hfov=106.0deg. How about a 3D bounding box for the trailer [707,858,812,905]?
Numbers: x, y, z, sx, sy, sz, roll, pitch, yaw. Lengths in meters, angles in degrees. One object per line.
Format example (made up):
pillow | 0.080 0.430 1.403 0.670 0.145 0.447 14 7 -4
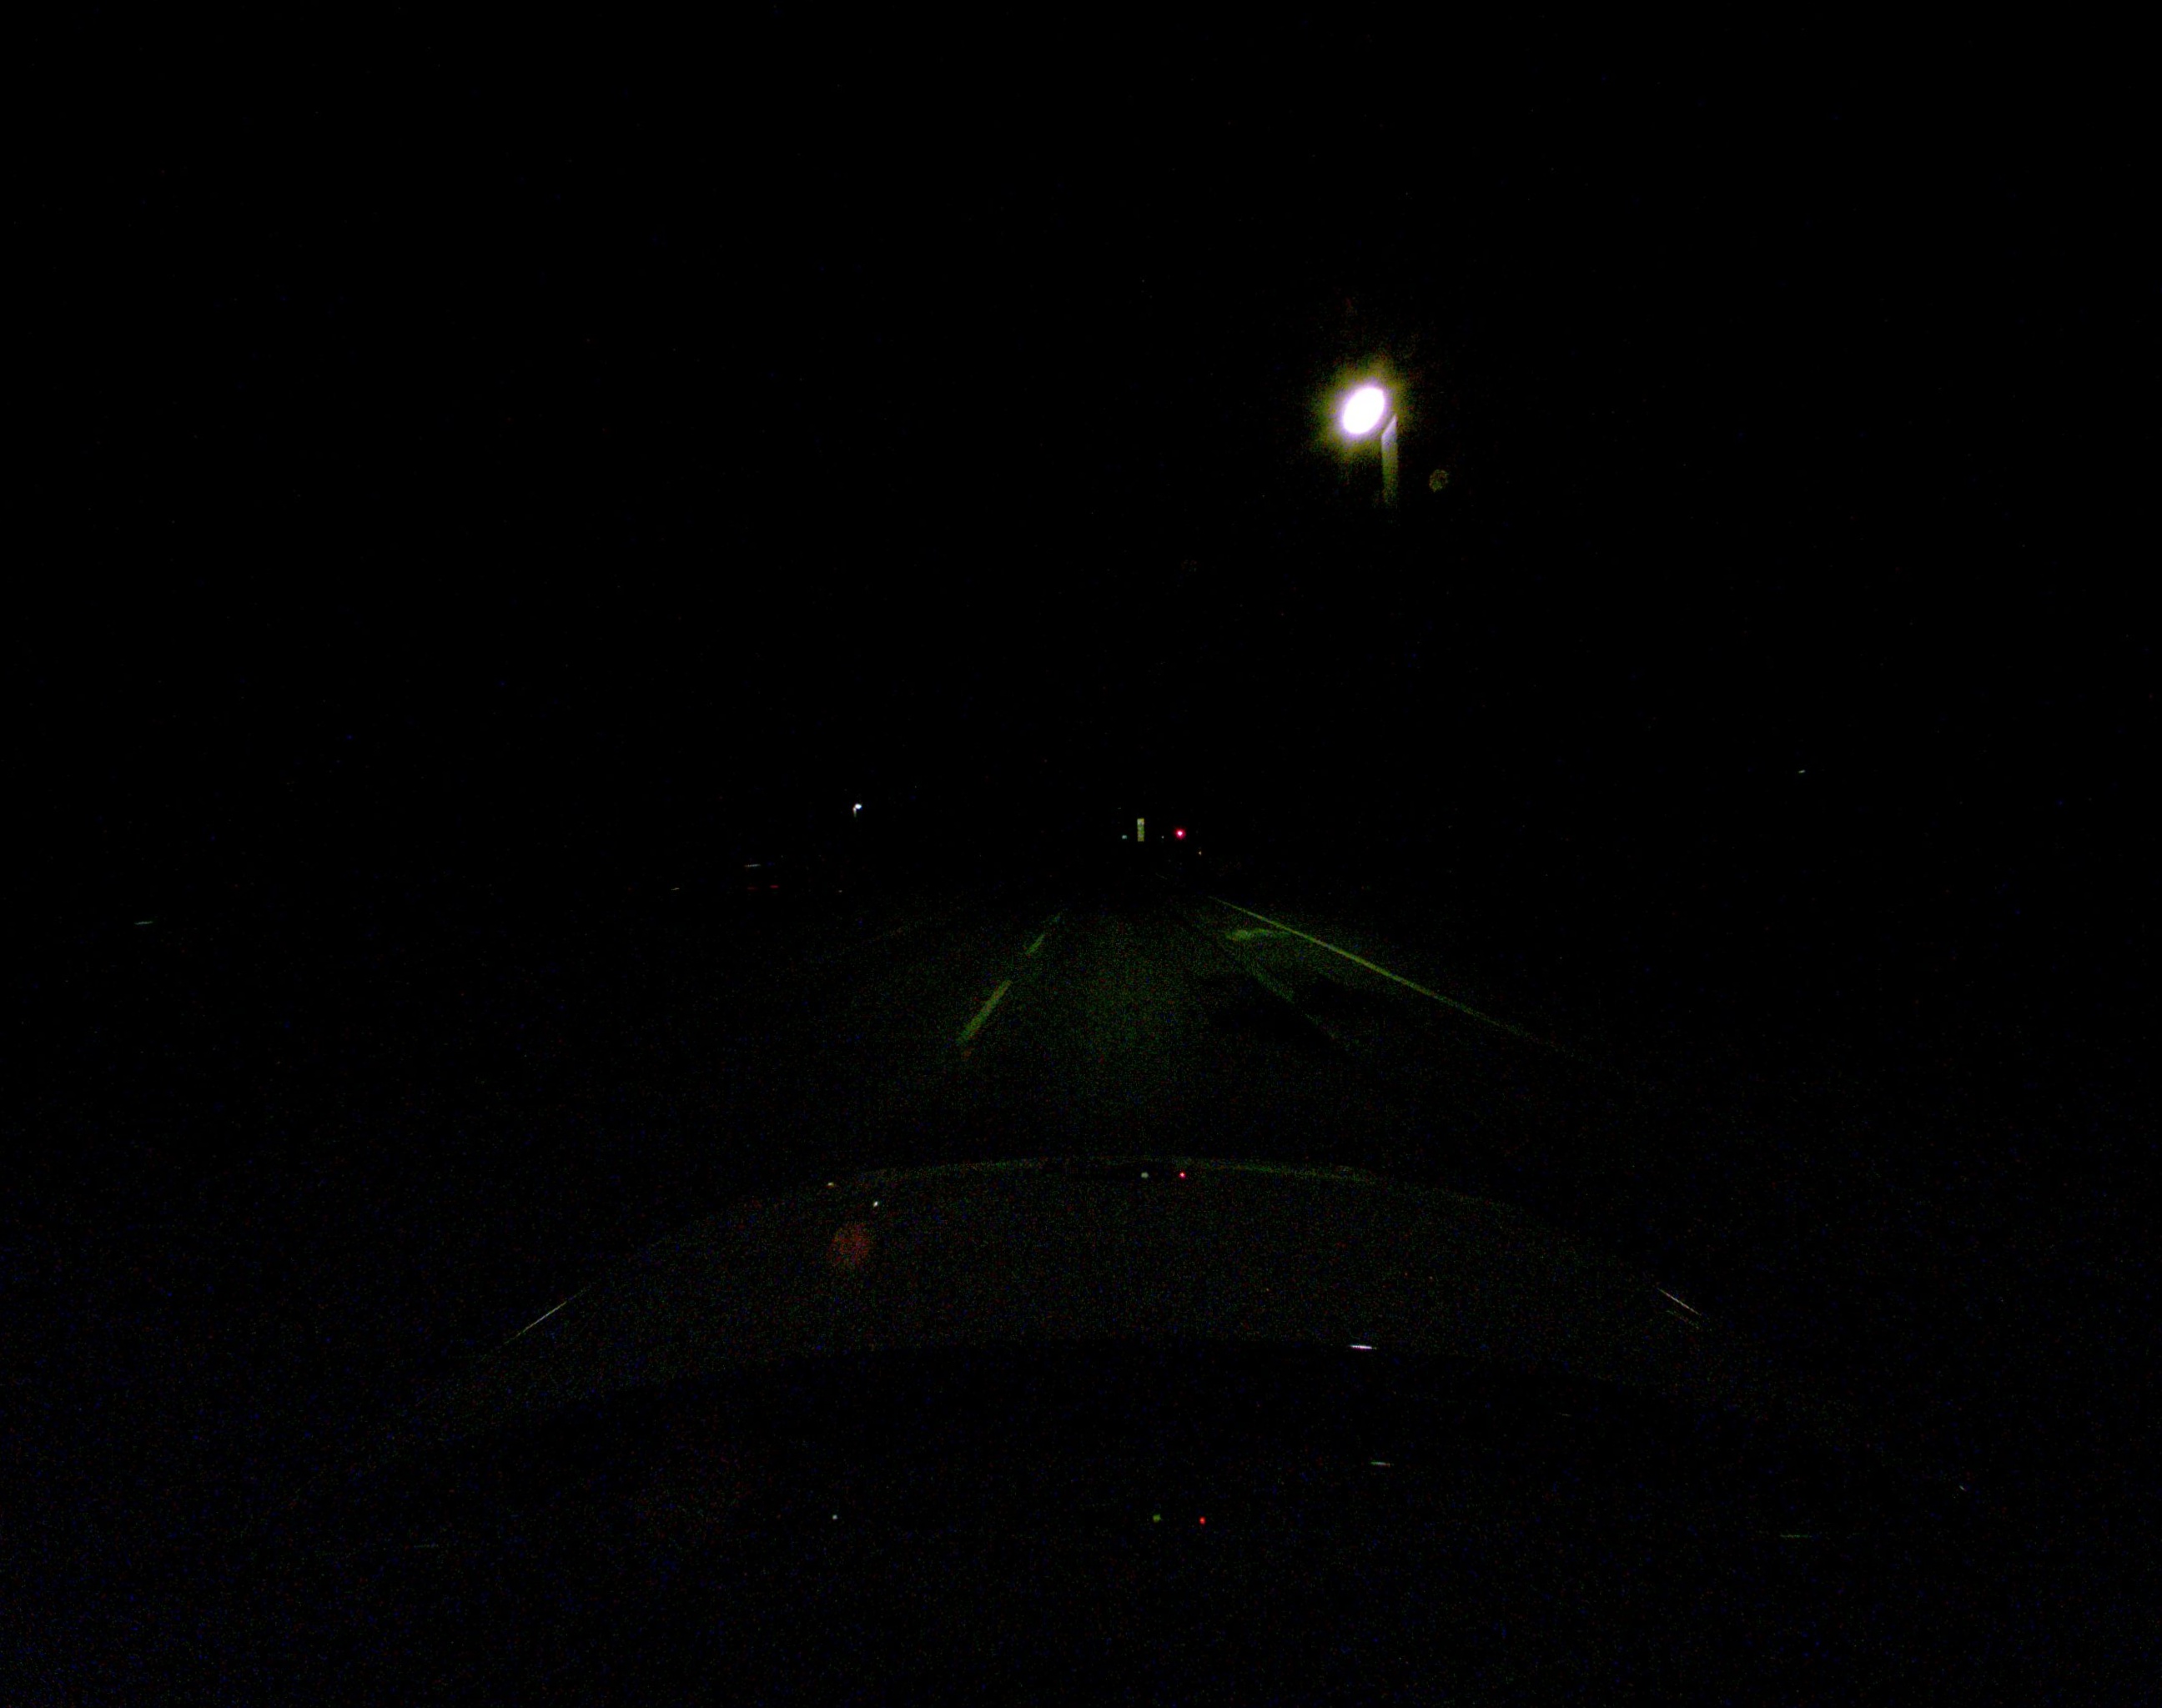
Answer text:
trailer | -14.217 1.161 36.503 2.016 1.780 5.679 -4 0 4

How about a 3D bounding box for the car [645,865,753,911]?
car | -14.547 1.249 31.349 1.709 1.577 4.541 -1 0 5
